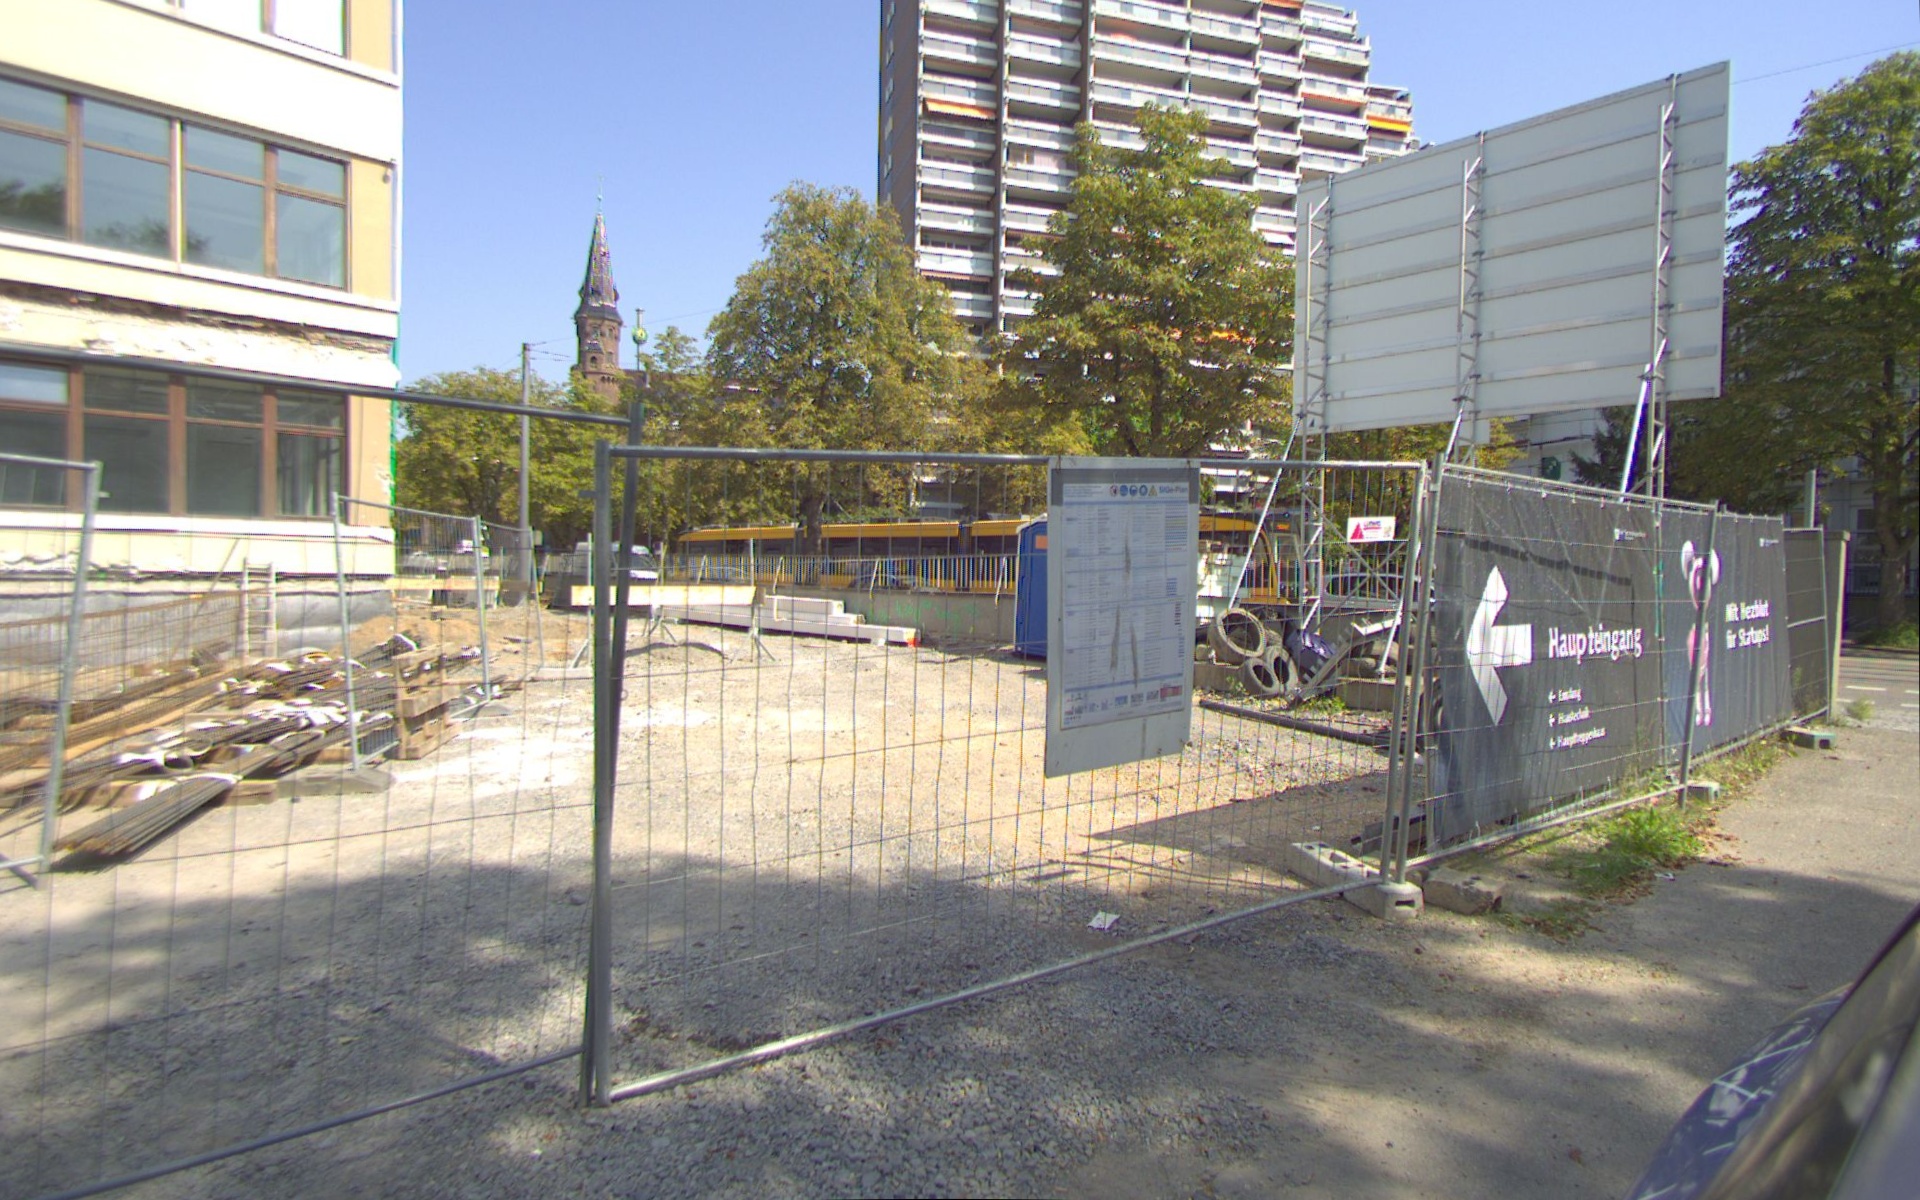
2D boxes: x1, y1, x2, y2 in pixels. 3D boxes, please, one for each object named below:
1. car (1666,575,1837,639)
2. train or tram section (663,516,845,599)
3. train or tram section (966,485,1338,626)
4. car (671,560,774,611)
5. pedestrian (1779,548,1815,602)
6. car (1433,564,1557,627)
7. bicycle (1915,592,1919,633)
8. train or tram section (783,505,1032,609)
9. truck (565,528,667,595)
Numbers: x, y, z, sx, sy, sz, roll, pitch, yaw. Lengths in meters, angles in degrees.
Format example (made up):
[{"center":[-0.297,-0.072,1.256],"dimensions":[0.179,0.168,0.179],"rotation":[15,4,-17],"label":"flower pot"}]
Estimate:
[{"center":[21.302,0.132,27.456],"dimensions":[1.690,1.526,3.857],"rotation":[2,2,4],"label":"car"},{"center":[-10.819,-2.158,51.573],"dimensions":[3.448,3.750,12.392],"rotation":[-1,2,-41],"label":"train or tram section"},{"center":[5.584,-1.414,32.907],"dimensions":[3.448,3.750,12.392],"rotation":[-1,2,-41],"label":"train or tram section"},{"center":[-8.371,-0.540,35.423],"dimensions":[1.651,1.599,4.164],"rotation":[2,1,-42],"label":"car"},{"center":[28.365,-0.859,34.308],"dimensions":[0.734,1.809,0.821],"rotation":[2,1,28],"label":"pedestrian"},{"center":[16.567,-0.190,31.594],"dimensions":[1.793,1.794,4.282],"rotation":[1,2,4],"label":"car"},{"center":[28.426,0.338,29.027],"dimensions":[2.297,1.173,0.603],"rotation":[-1,3,-23],"label":"bicycle"},{"center":[-2.616,-1.773,42.266],"dimensions":[3.448,3.750,12.392],"rotation":[-1,2,-41],"label":"train or tram section"},{"center":[-14.507,-1.628,42.424],"dimensions":[1.891,2.631,5.580],"rotation":[-1,3,-43],"label":"truck"}]
